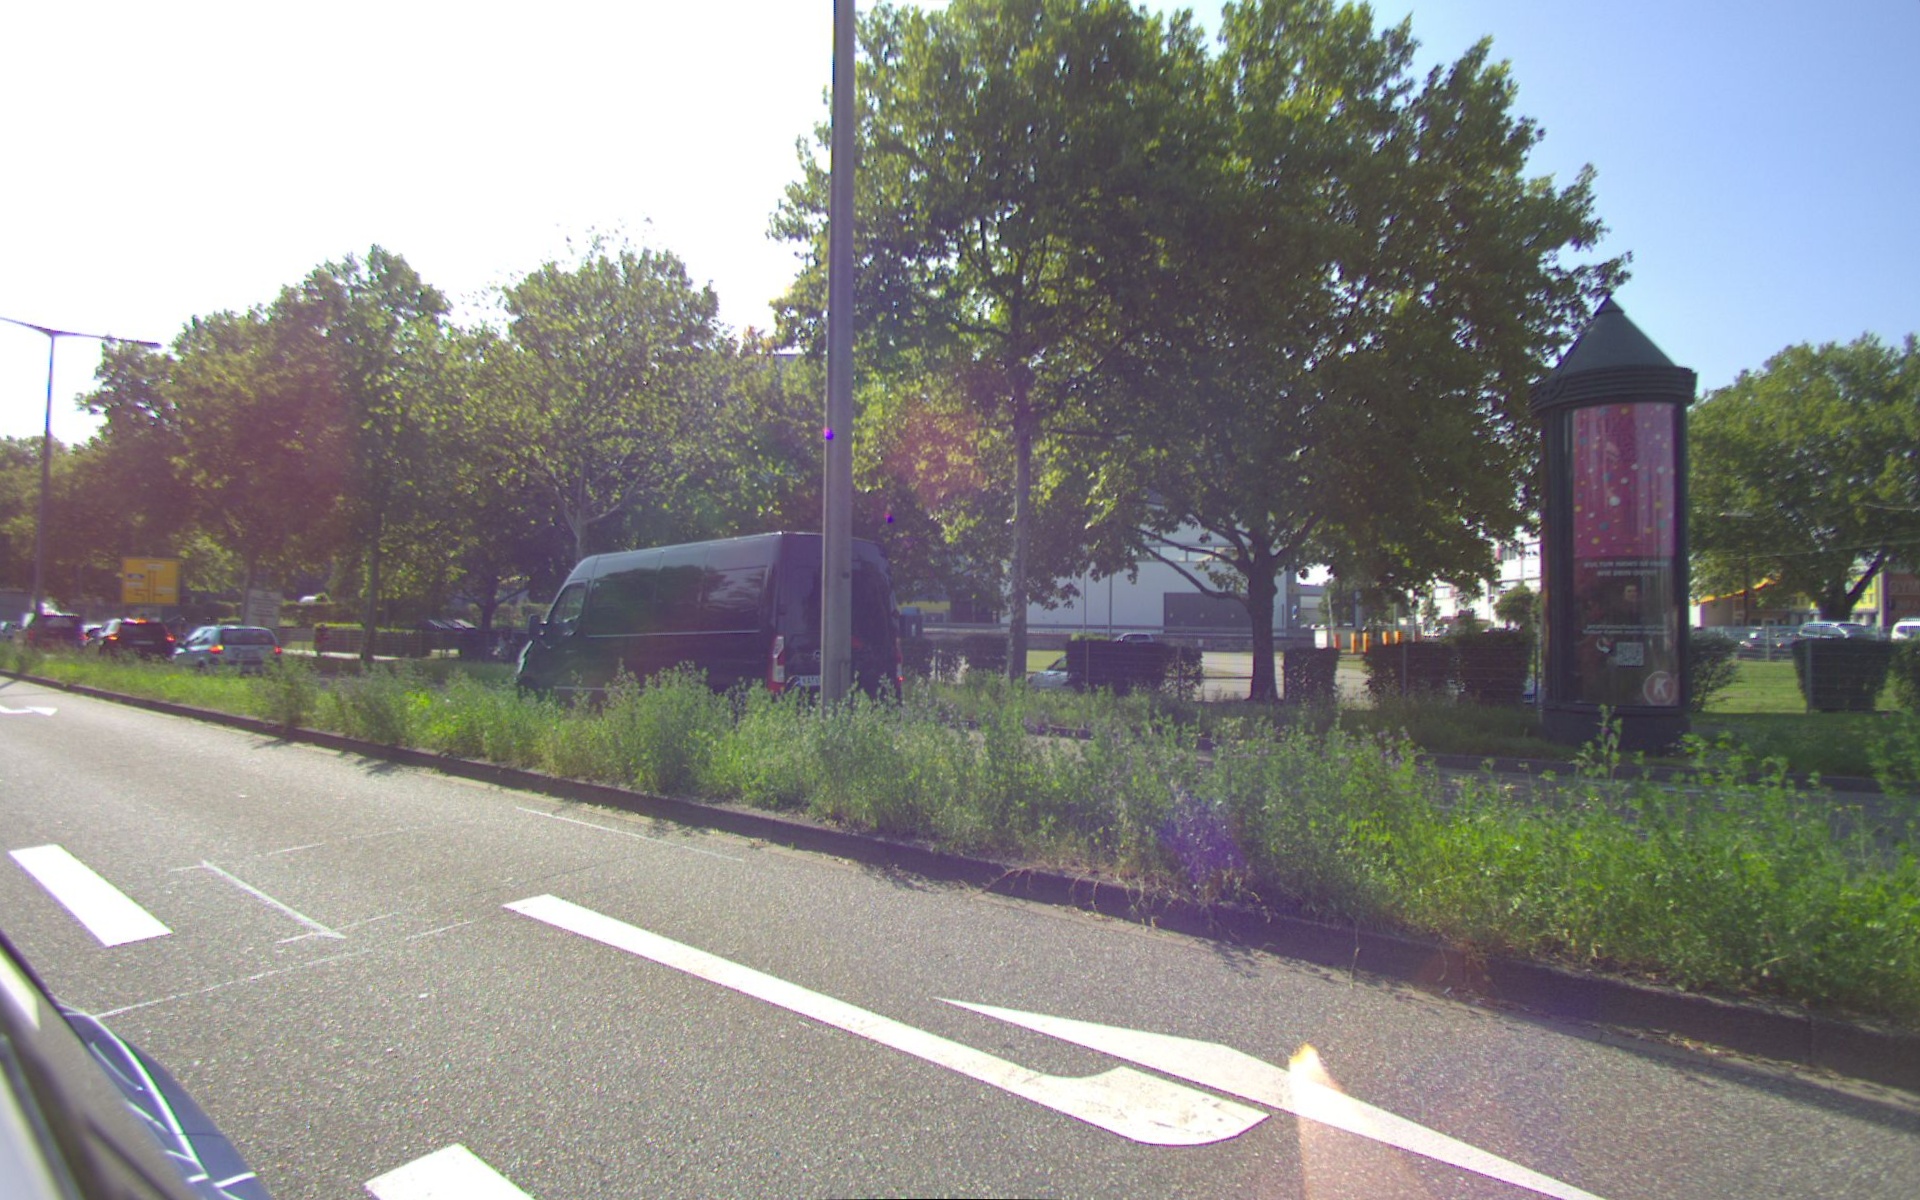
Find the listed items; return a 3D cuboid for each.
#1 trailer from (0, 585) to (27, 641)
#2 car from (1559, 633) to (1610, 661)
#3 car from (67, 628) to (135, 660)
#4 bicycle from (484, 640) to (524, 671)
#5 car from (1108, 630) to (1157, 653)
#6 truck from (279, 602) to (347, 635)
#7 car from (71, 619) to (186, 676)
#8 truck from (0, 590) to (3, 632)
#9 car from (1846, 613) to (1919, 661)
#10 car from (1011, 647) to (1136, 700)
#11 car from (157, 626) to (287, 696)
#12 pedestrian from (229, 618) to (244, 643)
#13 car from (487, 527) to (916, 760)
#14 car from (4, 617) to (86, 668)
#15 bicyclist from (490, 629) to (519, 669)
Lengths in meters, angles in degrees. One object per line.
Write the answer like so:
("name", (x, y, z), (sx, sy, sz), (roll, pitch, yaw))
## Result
("trailer", (-72.418, 0.995, 75.267), (13.800, 3.851, 2.606), (-1, -4, 40))
("car", (36.390, 2.741, 58.954), (1.840, 1.556, 3.943), (-2, -3, 42))
("car", (-42.030, 2.113, 49.483), (3.995, 1.493, 1.773), (-1, -2, 39))
("bicycle", (-17.160, 2.069, 38.076), (1.798, 1.116, 0.641), (-1, -3, 39))
("car", (11.269, 2.725, 66.352), (3.089, 1.447, 1.378), (0, -1, 7))
("truck", (-58.547, 1.651, 91.712), (2.209, 2.883, 5.901), (0, -1, 2))
("car", (-26.780, 1.469, 32.565), (4.499, 1.719, 1.974), (-1, -1, 39))
("truck", (-78.228, 1.141, 80.234), (5.886, 3.849, 2.581), (-1, -4, 40))
("car", (35.034, 1.332, 37.004), (1.846, 1.692, 3.996), (0, -1, 3))
("car", (3.283, 2.022, 28.686), (1.817, 1.320, 3.951), (-2, -2, 36))
("car", (-18.606, 1.465, 25.446), (3.997, 1.586, 1.755), (-1, -1, 40))
("pedestrian", (-49.226, 2.068, 68.888), (0.933, 1.665, 0.611), (-1, -2, 40))
("car", (-3.587, 0.496, 13.040), (6.276, 2.350, 2.091), (-1, -1, 40))
("car", (-38.874, 1.771, 42.969), (4.562, 2.043, 1.913), (-1, -2, 39))
("bicyclist", (-17.124, 1.835, 38.045), (0.839, 1.450, 0.641), (-2, -3, 39))
